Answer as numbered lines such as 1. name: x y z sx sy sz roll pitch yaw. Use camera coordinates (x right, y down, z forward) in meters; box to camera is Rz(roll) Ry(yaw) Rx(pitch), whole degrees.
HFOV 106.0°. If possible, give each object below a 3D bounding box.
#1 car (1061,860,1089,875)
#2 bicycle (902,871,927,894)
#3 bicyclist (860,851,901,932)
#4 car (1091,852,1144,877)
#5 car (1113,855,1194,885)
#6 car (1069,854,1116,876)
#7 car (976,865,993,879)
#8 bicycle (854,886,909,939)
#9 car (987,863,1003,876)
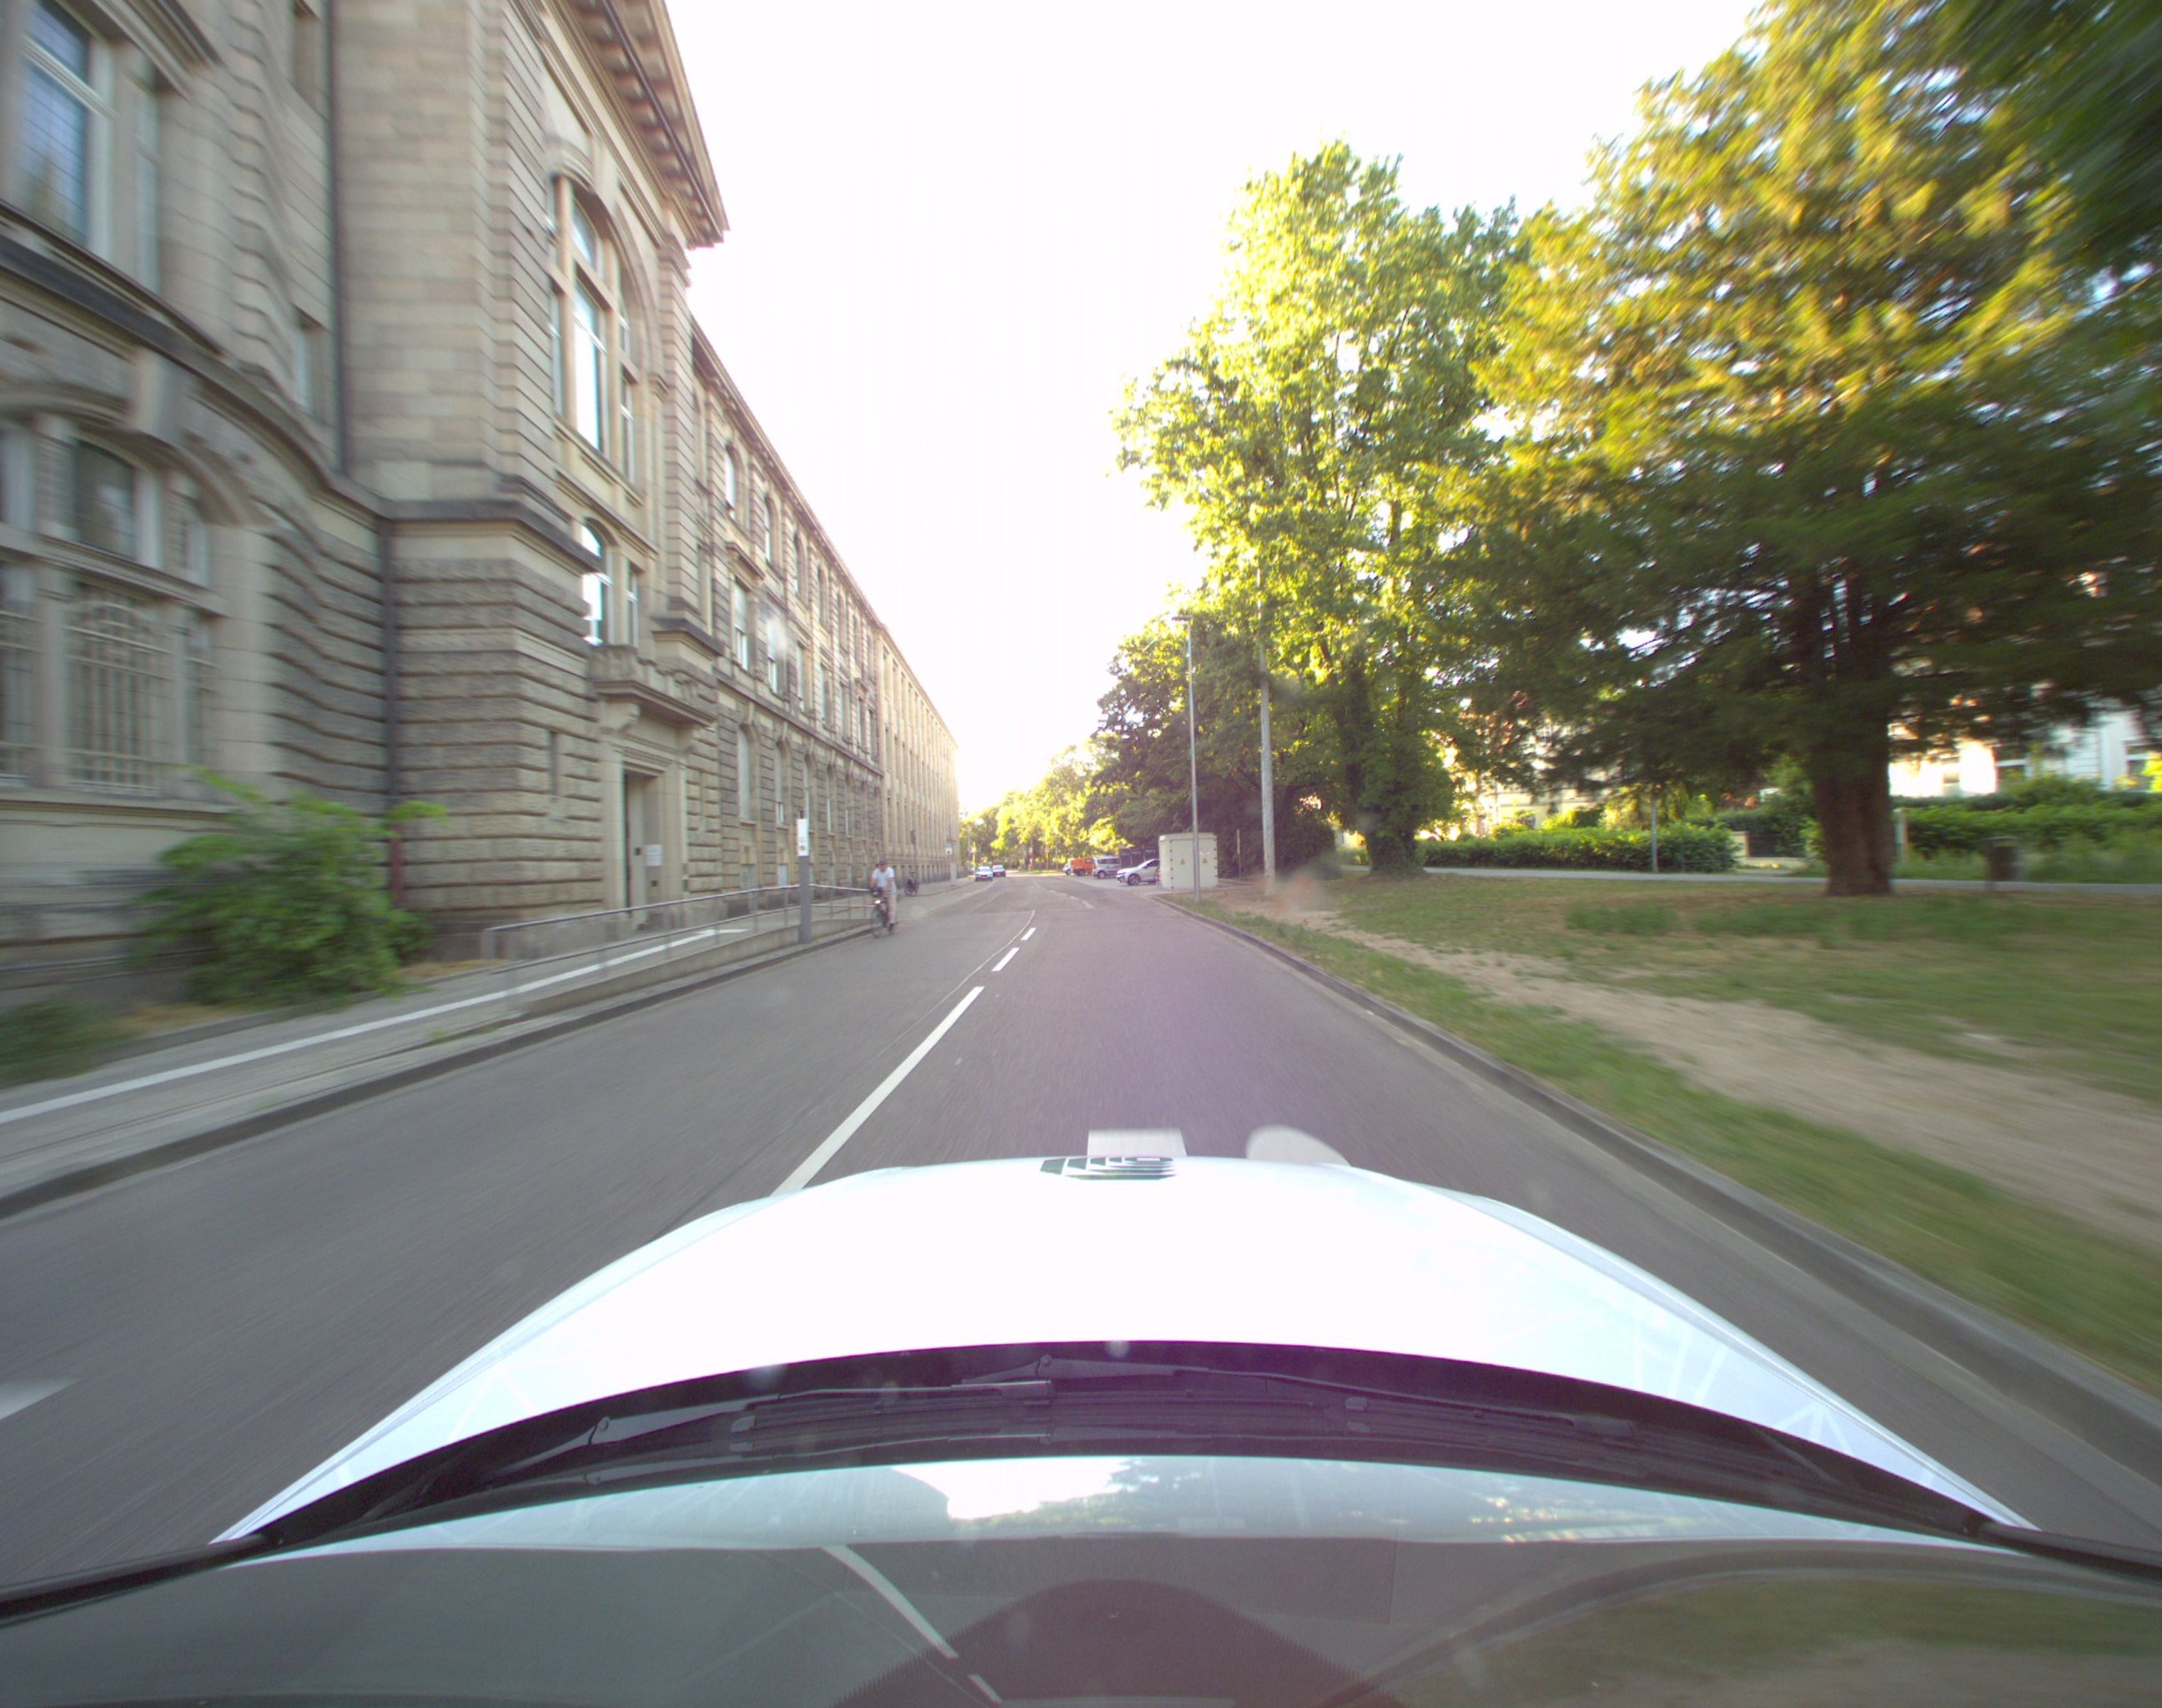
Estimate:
1. car: -0.713 1.649 99.015 3.145 1.503 1.535 -4 -1 -11
2. bicycle: -8.412 1.423 41.232 0.849 1.101 1.982 0 -1 0
3. bicyclist: -4.618 0.849 18.805 0.643 1.807 0.780 -3 -1 1
4. car: 3.085 0.934 69.646 4.220 1.859 1.997 -4 -1 -4
5. car: 4.196 0.919 47.521 4.434 1.469 1.779 -3 -1 -5
6. car: 1.223 1.200 88.885 4.821 2.013 1.795 -4 -1 -11
7. car: -10.039 1.831 84.588 1.726 1.397 4.362 -2 -1 -7
8. bicycle: -4.591 1.314 18.875 0.660 1.070 2.154 -3 -1 1
9. car: -10.756 1.899 101.882 1.877 1.466 4.362 -2 0 -7
